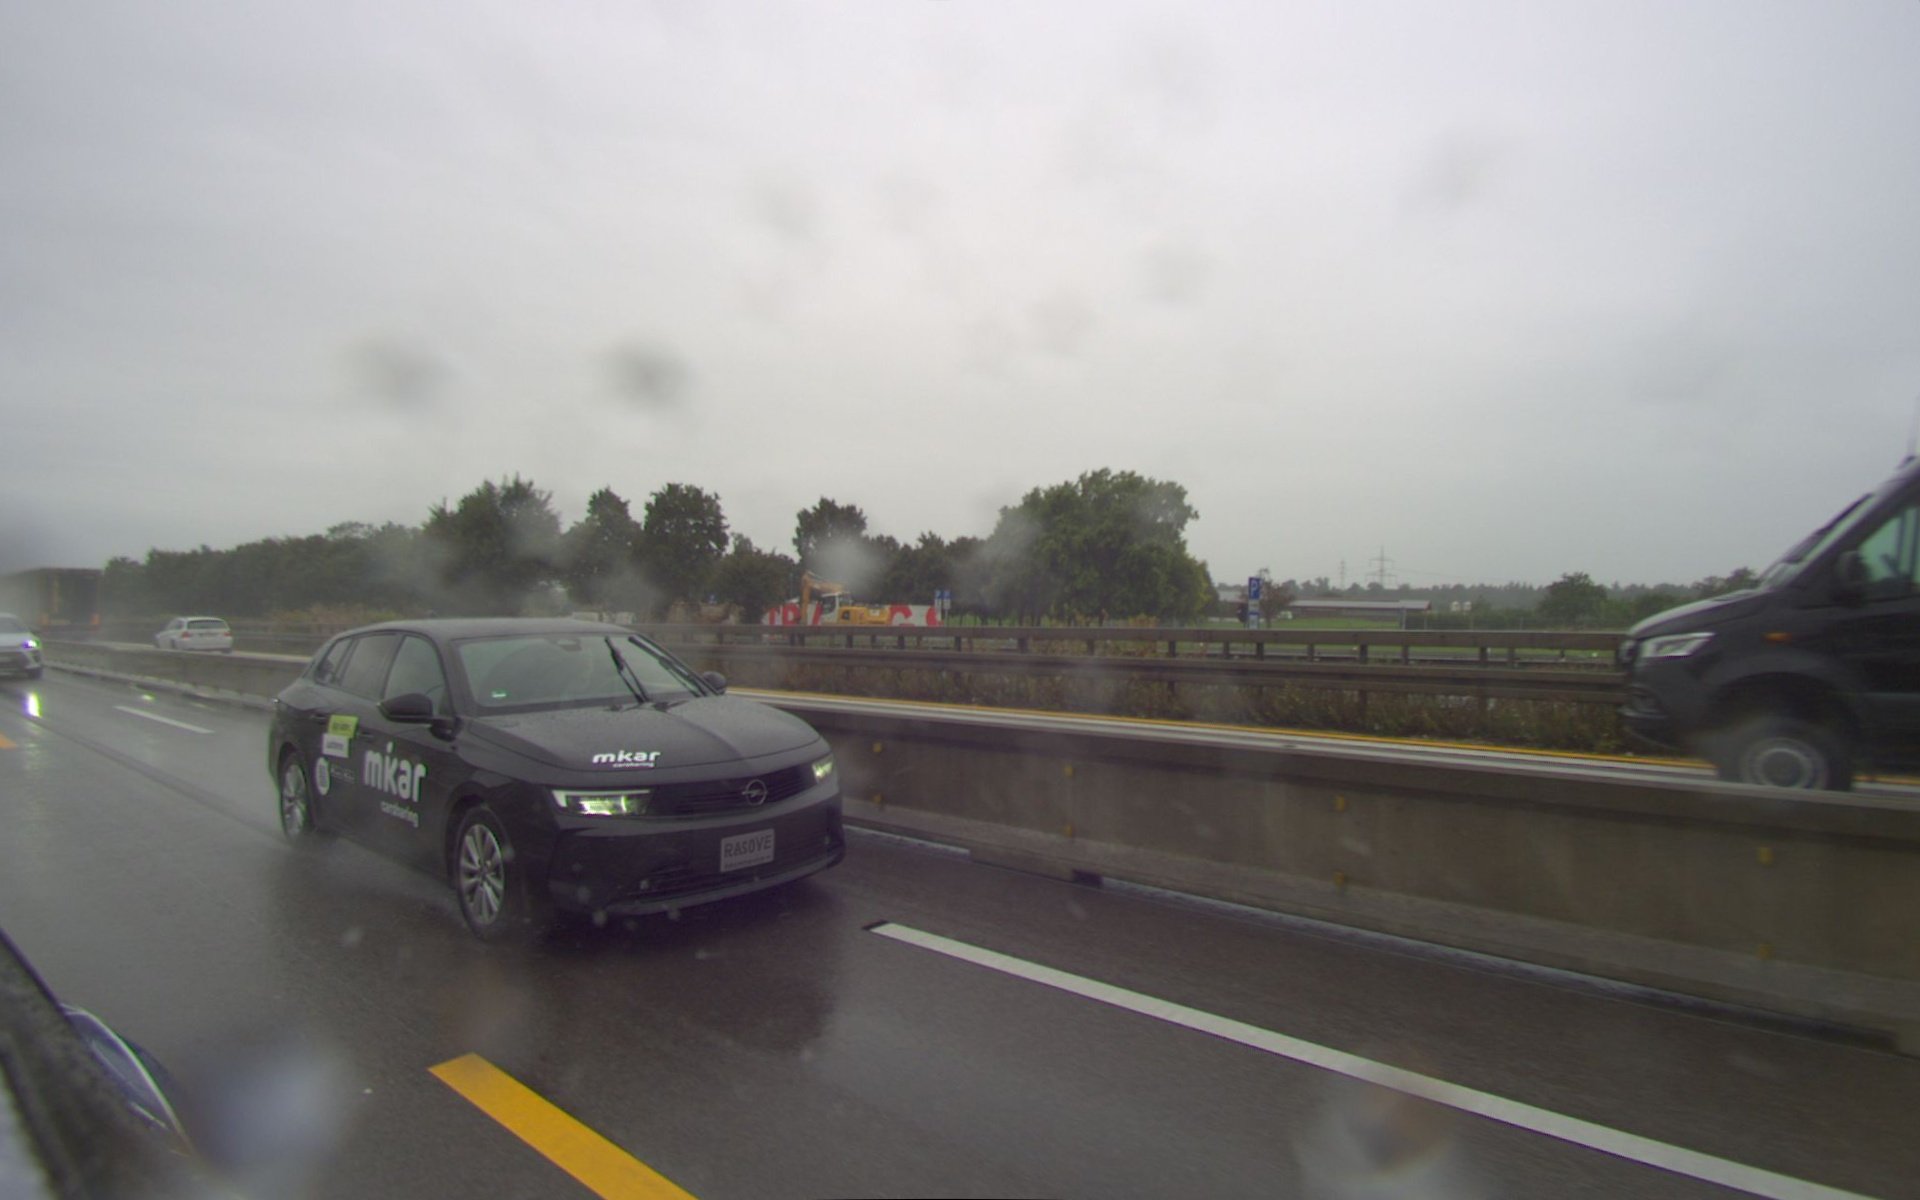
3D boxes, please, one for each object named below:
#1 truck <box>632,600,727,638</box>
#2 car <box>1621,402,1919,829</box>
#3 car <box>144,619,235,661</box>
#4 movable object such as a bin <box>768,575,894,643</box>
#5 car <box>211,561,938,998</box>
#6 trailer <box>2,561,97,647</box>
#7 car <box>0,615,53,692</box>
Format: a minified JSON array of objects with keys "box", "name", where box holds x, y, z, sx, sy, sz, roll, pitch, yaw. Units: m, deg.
[{"box":[-21.292,1.400,76.496,8.899,2.724,2.488,-1,0,42],"name":"truck"},{"box":[7.544,0.091,5.655,6.176,2.536,2.047,-1,-2,44],"name":"car"},{"box":[-29.337,1.468,38.458,5.435,1.448,1.710,-1,0,41],"name":"car"},{"box":[-8.038,0.507,62.113,8.458,3.949,2.701,0,0,41],"name":"movable object such as a bin"},{"box":[-2.539,0.696,5.890,4.793,1.539,1.919,-2,-2,41],"name":"car"},{"box":[-52.843,0.294,58.541,13.546,4.491,2.554,-1,-1,42],"name":"trailer"},{"box":[-23.964,1.271,24.767,3.994,1.693,1.948,1,1,37],"name":"car"}]
